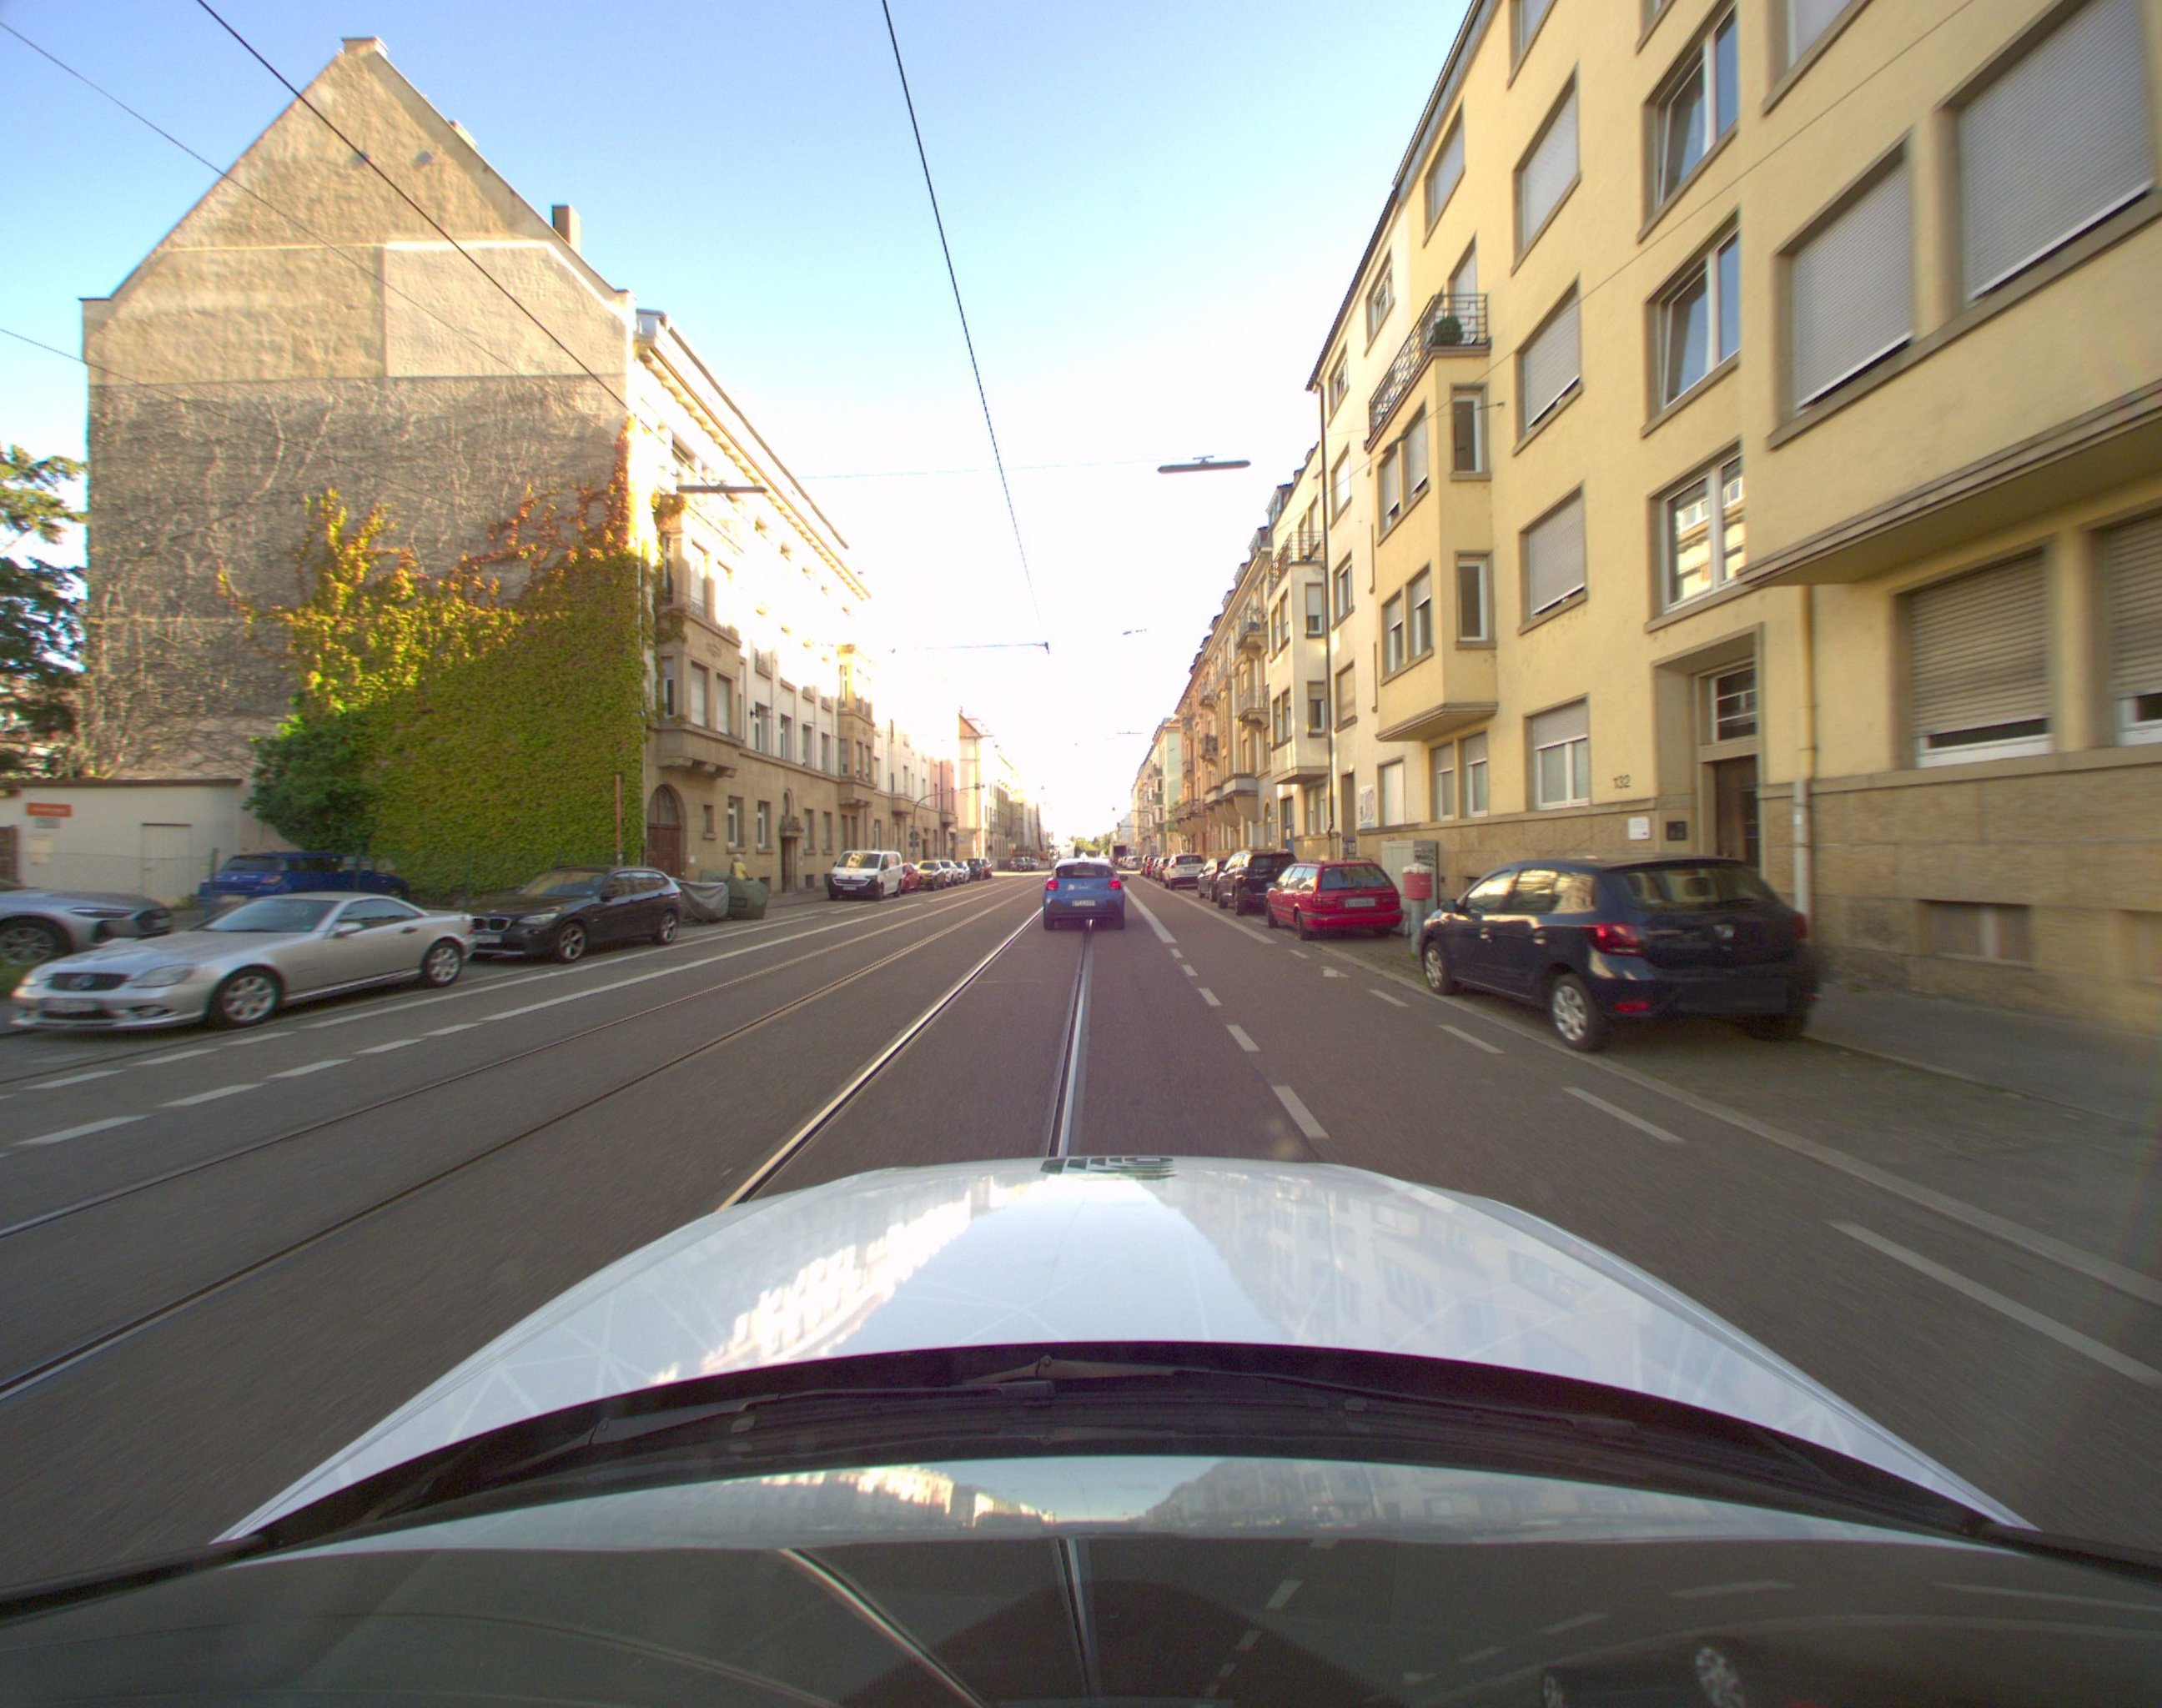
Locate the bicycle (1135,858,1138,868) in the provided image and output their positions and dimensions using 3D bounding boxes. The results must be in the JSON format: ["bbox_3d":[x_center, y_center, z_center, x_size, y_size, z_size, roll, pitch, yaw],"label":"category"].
[{"bbox_3d":[6.067,0.975,89.137,0.351,1.044,1.729,-1,0,3],"label":"bicycle"}]

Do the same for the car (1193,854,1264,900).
[{"bbox_3d":[5.061,0.745,28.404,1.731,1.441,4.032,-1,0,0],"label":"car"}]

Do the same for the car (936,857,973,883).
[{"bbox_3d":[-8.263,1.038,53.617,1.778,1.622,4.178,1,0,-1],"label":"car"}]

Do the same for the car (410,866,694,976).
[{"bbox_3d":[-8.963,1.027,14.408,1.775,1.565,4.614,1,0,3],"label":"car"}]

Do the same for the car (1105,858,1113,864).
[{"bbox_3d":[6.858,1.741,198.114,1.759,1.487,4.033,-1,0,2],"label":"car"}]

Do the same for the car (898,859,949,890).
[{"bbox_3d":[-8.207,1.031,42.779,1.777,1.523,4.360,1,0,0],"label":"car"}]

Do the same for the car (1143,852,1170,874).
[{"bbox_3d":[5.568,0.667,60.456,1.746,1.594,3.732,-1,0,2],"label":"car"}]

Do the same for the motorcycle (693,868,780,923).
[{"bbox_3d":[-9.065,1.051,21.516,0.875,1.351,1.970,-1,0,33],"label":"motorcycle"}]

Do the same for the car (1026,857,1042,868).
[{"bbox_3d":[-6.502,1.183,112.050,1.711,1.502,4.391,1,0,3],"label":"car"}]

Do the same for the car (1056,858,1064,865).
[{"bbox_3d":[-5.048,1.777,195.668,1.819,1.632,3.906,-1,0,1],"label":"car"}]

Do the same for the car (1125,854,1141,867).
[{"bbox_3d":[6.991,0.861,110.723,1.651,1.752,4.598,-1,0,-3],"label":"car"}]

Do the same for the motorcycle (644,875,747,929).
[{"bbox_3d":[-9.261,1.130,19.659,0.732,1.171,2.193,-1,0,31],"label":"motorcycle"}]

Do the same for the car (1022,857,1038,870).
[{"bbox_3d":[-6.648,1.248,105.894,1.778,1.627,4.607,1,0,-1],"label":"car"}]

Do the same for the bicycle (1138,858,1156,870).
[{"bbox_3d":[6.997,1.076,86.858,1.836,1.154,0.469,-5,0,1],"label":"bicycle"}]

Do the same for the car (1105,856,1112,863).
[{"bbox_3d":[8.726,1.739,257.154,2.211,2.284,4.085,-1,0,1],"label":"car"}]

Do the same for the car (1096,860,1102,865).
[{"bbox_3d":[5.470,2.632,251.383,1.819,1.632,4.492,-1,0,2],"label":"car"}]

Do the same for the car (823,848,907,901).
[{"bbox_3d":[-8.629,0.771,33.040,1.966,1.949,5.251,1,0,0],"label":"car"}]

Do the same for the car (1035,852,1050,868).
[{"bbox_3d":[-6.111,0.926,129.115,2.138,2.475,4.978,0,0,-1],"label":"car"}]

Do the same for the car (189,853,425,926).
[{"bbox_3d":[-18.006,0.747,19.229,1.746,1.525,3.910,-1,0,2],"label":"car"}]

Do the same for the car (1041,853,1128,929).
[{"bbox_3d":[0.123,0.743,18.264,1.728,1.507,3.993,1,0,1],"label":"car"}]

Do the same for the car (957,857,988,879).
[{"bbox_3d":[-7.857,0.975,59.321,1.777,1.553,3.020,1,0,1],"label":"car"}]

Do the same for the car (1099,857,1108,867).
[{"bbox_3d":[4.481,1.649,162.333,1.814,1.894,4.001,0,0,1],"label":"car"}]

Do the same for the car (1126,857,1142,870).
[{"bbox_3d":[6.510,1.130,99.588,1.777,1.576,4.328,-1,0,2],"label":"car"}]

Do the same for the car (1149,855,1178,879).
[{"bbox_3d":[5.636,0.867,55.864,1.648,1.513,4.475,-1,0,1],"label":"car"}]

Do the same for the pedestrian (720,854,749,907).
[{"bbox_3d":[-11.262,0.855,26.472,0.677,1.724,0.616,0,0,1],"label":"pedestrian"}]

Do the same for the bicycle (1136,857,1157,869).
[{"bbox_3d":[6.908,0.939,86.143,2.079,1.154,0.848,-4,0,1],"label":"bicycle"}]

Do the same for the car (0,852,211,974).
[{"bbox_3d":[-14.979,0.760,10.466,4.814,1.518,1.980,-1,0,-32],"label":"car"}]

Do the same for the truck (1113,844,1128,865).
[{"bbox_3d":[7.889,0.063,164.949,2.842,4.083,11.277,-1,0,3],"label":"truck"}]

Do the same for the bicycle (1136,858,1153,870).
[{"bbox_3d":[7.089,1.144,90.858,1.716,1.154,0.469,-5,0,1],"label":"bicycle"}]

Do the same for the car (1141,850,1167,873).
[{"bbox_3d":[5.985,0.612,66.889,1.747,1.735,4.508,-4,0,2],"label":"car"}]

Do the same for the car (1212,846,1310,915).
[{"bbox_3d":[4.802,0.662,22.375,1.851,1.665,4.564,-1,0,2],"label":"car"}]

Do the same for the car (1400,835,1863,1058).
[{"bbox_3d":[4.629,0.655,7.700,1.712,1.491,4.003,-2,0,1],"label":"car"}]

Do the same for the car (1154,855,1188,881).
[{"bbox_3d":[5.543,0.849,50.651,1.649,1.483,4.474,-1,0,0],"label":"car"}]

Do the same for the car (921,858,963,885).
[{"bbox_3d":[-8.194,1.004,48.398,1.766,1.547,4.364,1,0,-1],"label":"car"}]

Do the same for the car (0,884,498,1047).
[{"bbox_3d":[-9.271,1.089,9.523,1.777,1.314,4.222,1,0,1],"label":"car"}]

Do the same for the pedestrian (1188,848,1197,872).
[{"bbox_3d":[7.804,0.431,56.951,0.511,1.687,0.448,-1,0,1],"label":"pedestrian"}]

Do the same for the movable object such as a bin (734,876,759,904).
[{"bbox_3d":[-11.200,1.207,27.265,0.610,0.900,0.518,0,0,1],"label":"movable object such as a bin"}]

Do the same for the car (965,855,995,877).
[{"bbox_3d":[-7.848,0.931,63.562,1.778,1.606,4.395,1,0,-1],"label":"car"}]

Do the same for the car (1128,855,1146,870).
[{"bbox_3d":[6.448,0.955,94.024,1.777,1.632,4.001,-1,0,2],"label":"car"}]

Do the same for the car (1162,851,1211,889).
[{"bbox_3d":[4.998,0.715,39.114,1.836,1.691,4.506,-1,0,1],"label":"car"}]

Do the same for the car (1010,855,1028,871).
[{"bbox_3d":[-7.134,1.031,94.261,1.778,1.690,4.666,1,0,-1],"label":"car"}]

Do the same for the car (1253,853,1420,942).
[{"bbox_3d":[4.794,0.740,16.039,1.852,1.455,4.710,-1,0,1],"label":"car"}]

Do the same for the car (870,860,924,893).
[{"bbox_3d":[-8.636,1.022,38.529,1.597,1.473,3.647,1,0,1],"label":"car"}]
